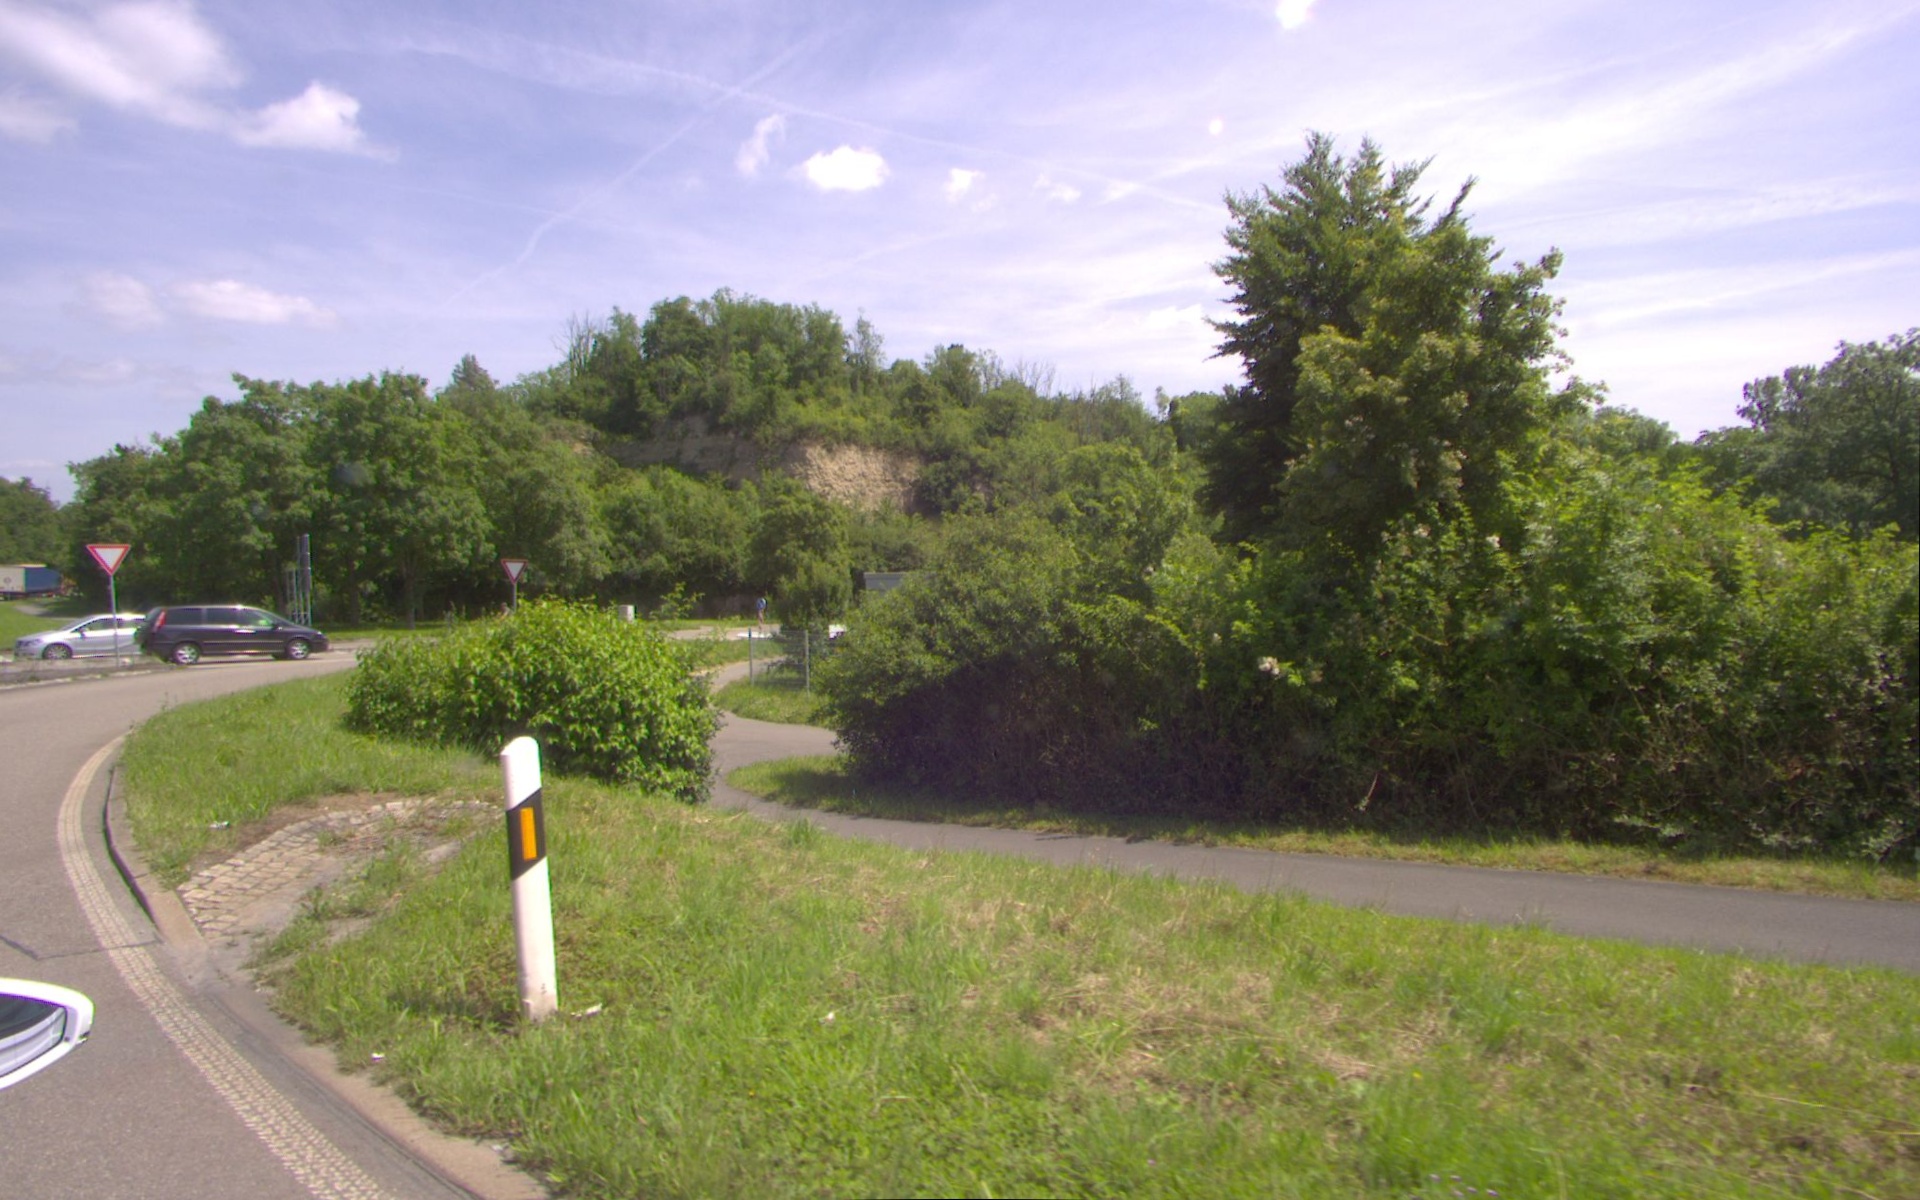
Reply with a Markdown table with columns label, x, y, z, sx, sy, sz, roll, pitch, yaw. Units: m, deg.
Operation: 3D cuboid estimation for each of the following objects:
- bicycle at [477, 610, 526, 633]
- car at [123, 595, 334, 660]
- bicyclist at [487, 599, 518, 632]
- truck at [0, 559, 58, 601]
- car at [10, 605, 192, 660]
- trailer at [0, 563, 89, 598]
| label | x | y | z | sx | sy | sz | roll | pitch | yaw |
| --- | --- | --- | --- | --- | --- | --- | --- | --- | --- |
| bicycle | -20.944 | 0.977 | 45.767 | 0.785 | 1.008 | 1.987 | -2 | -3 | 30 |
| car | -22.248 | 0.861 | 30.620 | 1.977 | 1.807 | 4.904 | -3 | -3 | 40 |
| bicyclist | -20.916 | 0.733 | 45.781 | 0.784 | 1.466 | 1.004 | -2 | -2 | 30 |
| truck | -110.644 | -2.240 | 118.881 | 3.145 | 4.079 | 11.686 | 0 | -3 | -31 |
| car | -29.125 | 1.116 | 34.057 | 1.975 | 1.740 | 4.413 | -3 | -3 | 37 |
| trailer | -126.036 | -2.536 | 137.516 | 4.952 | 4.420 | 20.737 | 0 | 0 | -28 |
